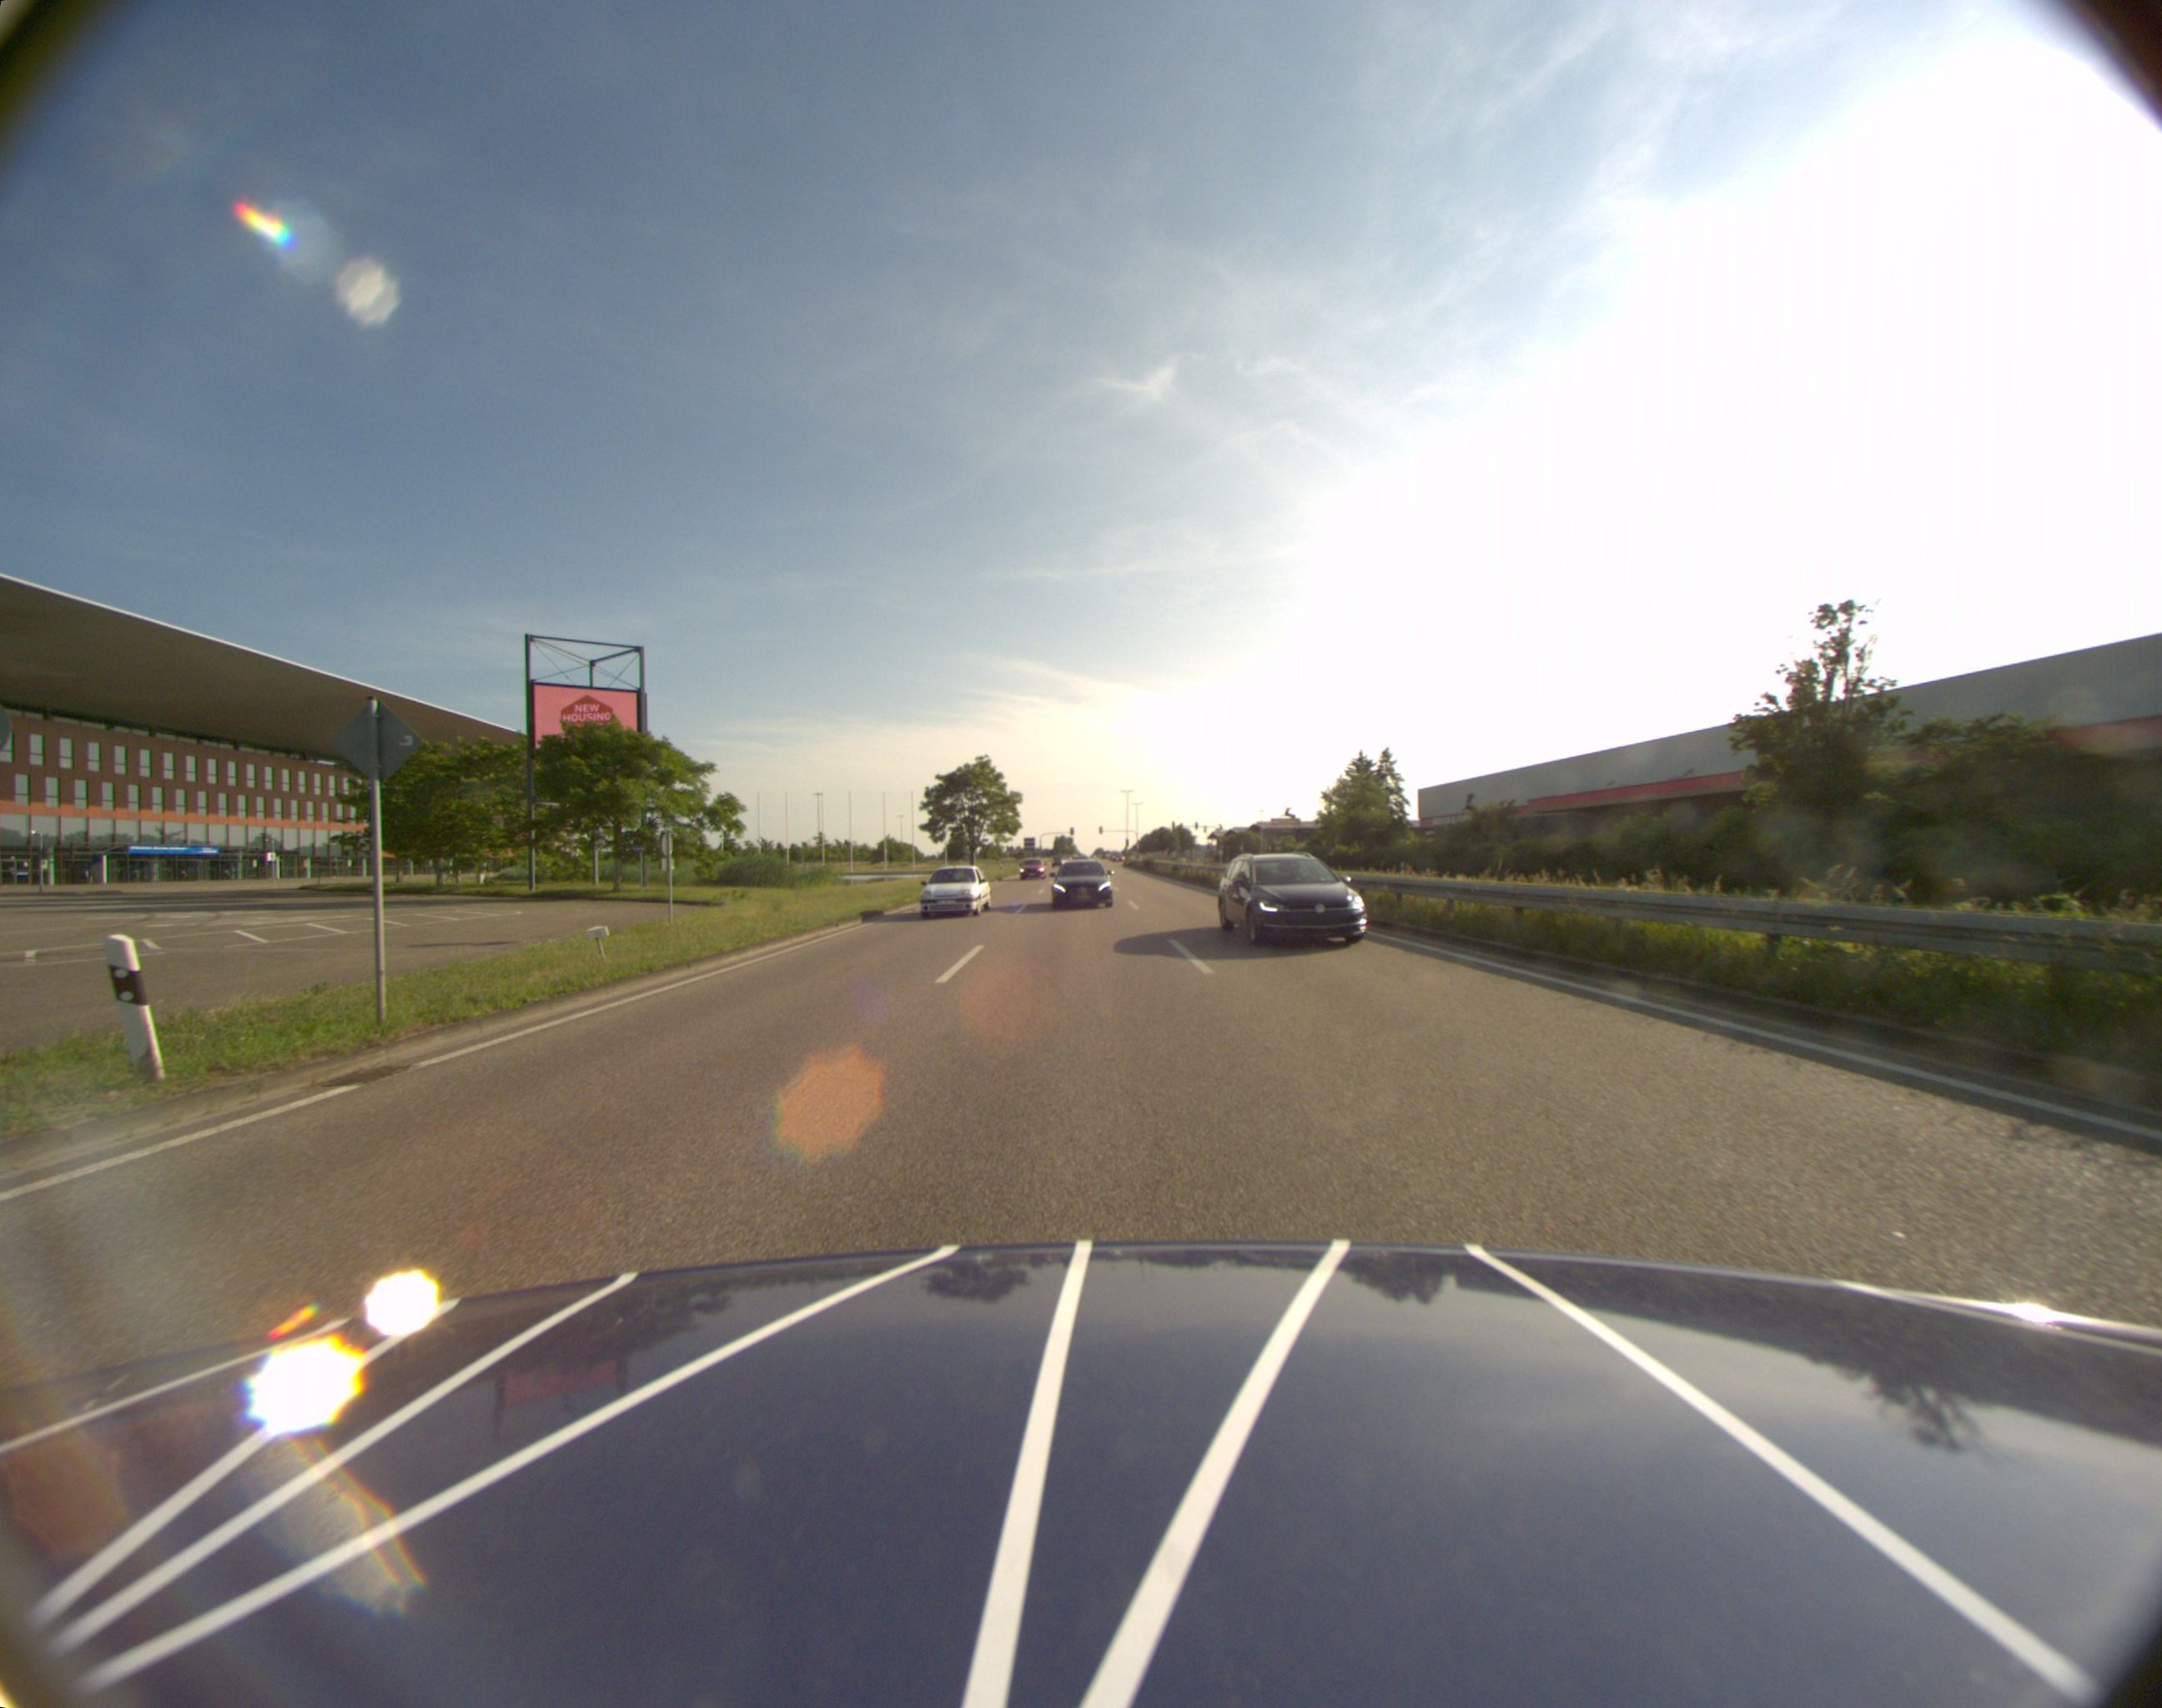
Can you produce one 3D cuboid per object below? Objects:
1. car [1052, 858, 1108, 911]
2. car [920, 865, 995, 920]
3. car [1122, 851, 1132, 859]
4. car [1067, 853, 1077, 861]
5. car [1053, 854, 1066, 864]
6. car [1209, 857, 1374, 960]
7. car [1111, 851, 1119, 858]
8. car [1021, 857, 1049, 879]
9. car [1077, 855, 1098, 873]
[{"bbox_3d":[0.010,0.883,24.455,1.576,1.462,5.022,-1,0,1],"label":"car"},{"bbox_3d":[-3.532,1.064,22.233,1.578,1.371,3.452,-2,0,0],"label":"car"},{"bbox_3d":[8.765,0.200,145.984,1.711,1.428,3.565,-2,0,0],"label":"car"},{"bbox_3d":[-1.625,0.552,143.398,1.751,1.512,3.739,-2,0,0],"label":"car"},{"bbox_3d":[-3.180,0.735,112.086,1.751,1.512,3.739,-2,0,0],"label":"car"},{"bbox_3d":[3.517,0.820,13.631,1.650,1.462,4.776,-2,0,0],"label":"car"},{"bbox_3d":[8.162,0.054,181.792,1.751,1.512,3.739,-2,0,-2],"label":"car"},{"bbox_3d":[-3.324,1.002,55.717,1.751,1.512,3.739,-2,0,0],"label":"car"},{"bbox_3d":[0.537,0.846,65.033,1.758,1.499,3.422,-1,0,0],"label":"car"}]
